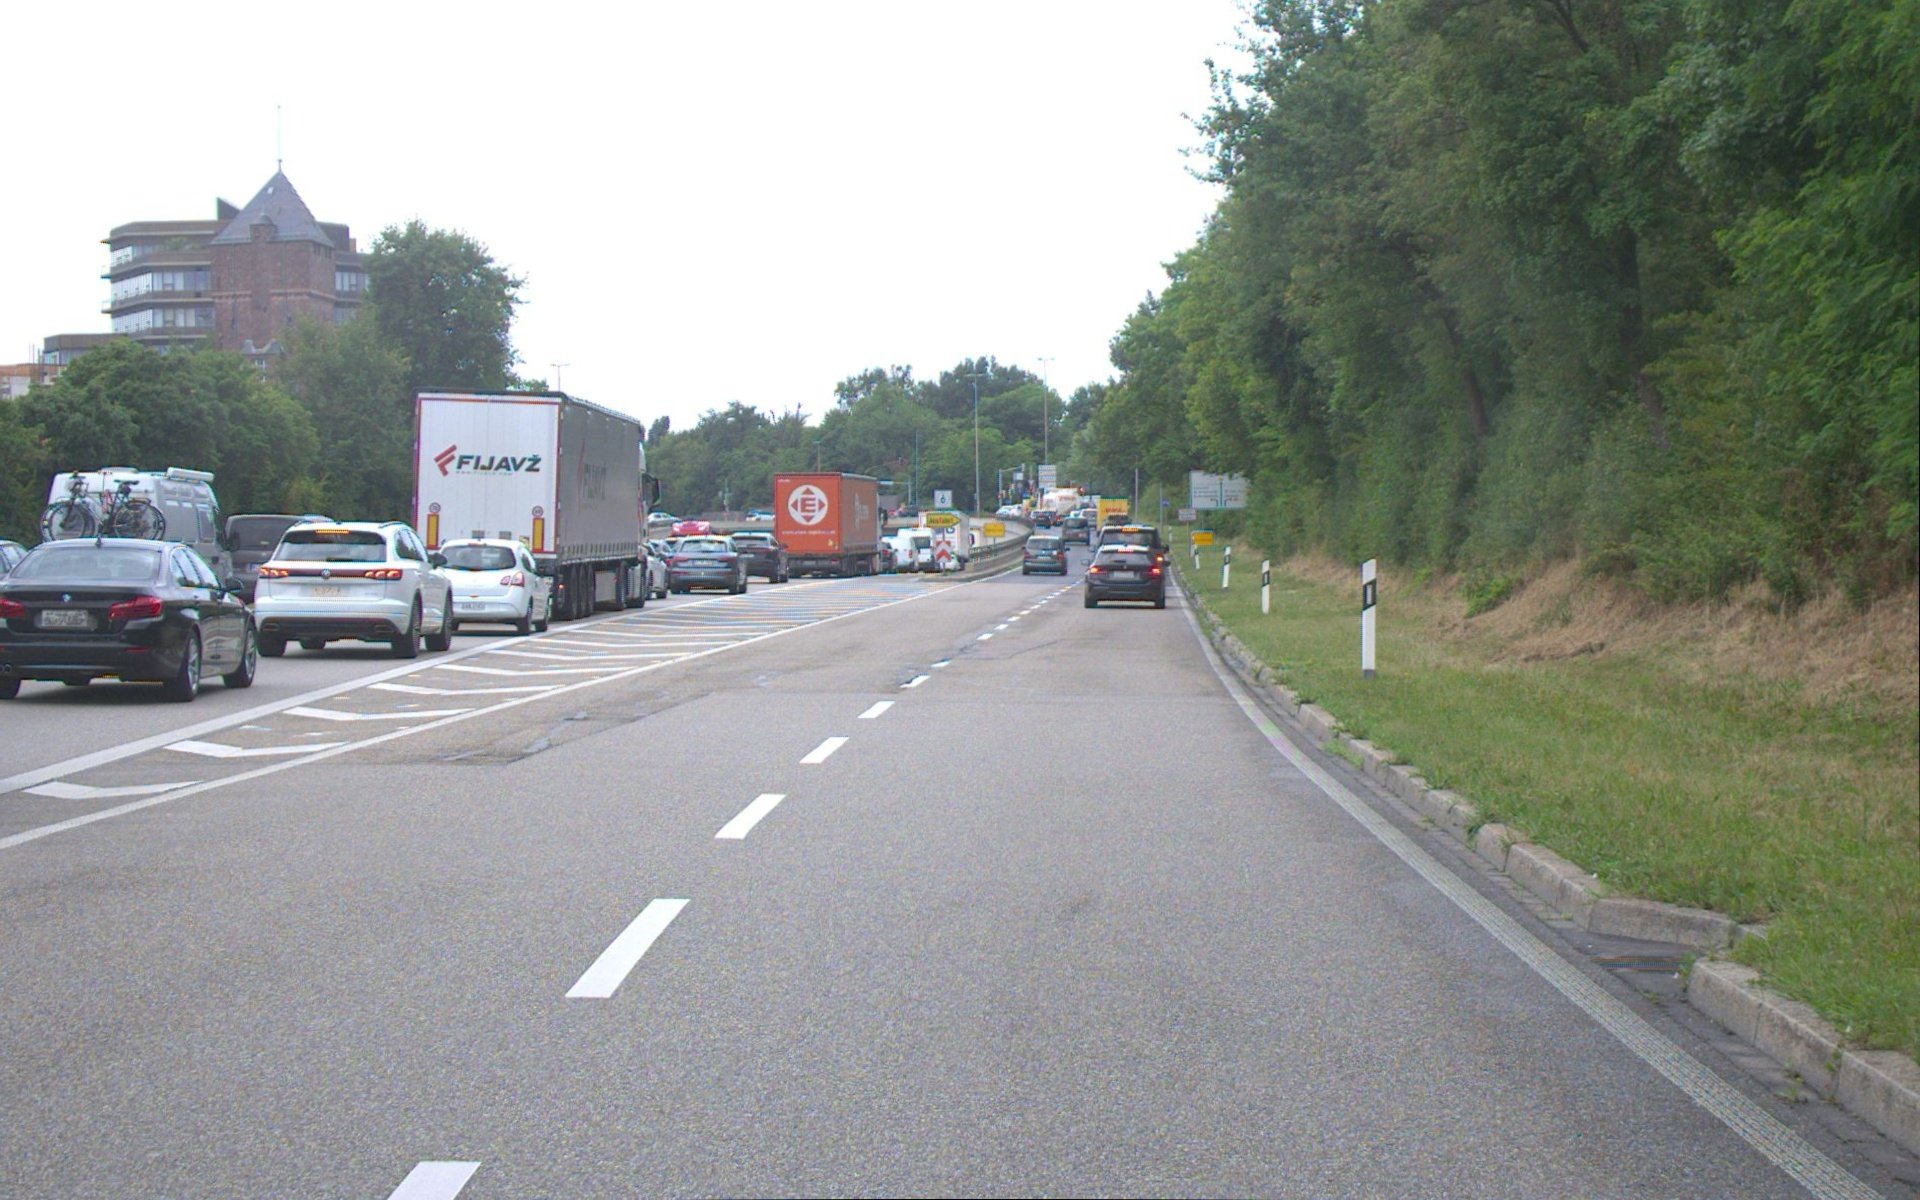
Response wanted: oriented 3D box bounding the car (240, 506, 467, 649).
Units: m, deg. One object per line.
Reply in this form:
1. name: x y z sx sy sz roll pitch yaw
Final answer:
1. car: -7.653 -0.289 43.860 1.956 1.689 4.866 1 0 1

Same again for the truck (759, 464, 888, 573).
1. truck: -5.286 -3.218 136.258 3.490 4.059 13.590 -1 1 5

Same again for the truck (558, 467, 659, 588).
1. truck: -12.623 -2.545 124.214 2.738 4.124 10.698 1 0 -1

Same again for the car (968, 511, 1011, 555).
1. car: 1.377 -3.125 159.507 1.951 2.007 4.000 0 1 0

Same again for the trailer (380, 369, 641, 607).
1. trailer: -8.298 -1.971 65.369 3.298 4.022 13.098 1 0 0

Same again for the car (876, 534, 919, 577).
1. car: -2.897 -2.057 160.365 1.614 1.941 3.704 1 0 4

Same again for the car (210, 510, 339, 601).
1. car: -13.182 -0.846 66.290 1.716 1.676 4.000 1 0 -1

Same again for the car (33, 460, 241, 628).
1. car: -13.012 -0.899 54.680 1.993 2.545 5.362 0 1 0

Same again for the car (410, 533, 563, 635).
1. car: -7.374 -0.271 53.822 1.764 1.473 4.089 2 1 0

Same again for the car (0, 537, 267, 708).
1. car: -7.813 0.168 32.179 1.847 1.455 4.831 1 0 -3

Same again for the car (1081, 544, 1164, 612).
1. car: 3.705 -0.520 78.413 1.825 1.477 4.000 -1 1 3

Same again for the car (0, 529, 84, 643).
1. car: -12.949 -0.205 44.927 1.713 1.443 4.701 1 0 1

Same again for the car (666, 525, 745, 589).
1. car: -6.863 -1.154 93.067 1.717 1.678 4.000 1 0 2

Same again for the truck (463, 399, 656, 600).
1. truck: -8.279 -2.029 71.965 3.199 3.933 7.074 1 0 0

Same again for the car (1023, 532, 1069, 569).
1. car: 3.488 -2.041 140.307 1.825 1.477 4.000 -1 1 1

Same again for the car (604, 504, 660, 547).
1. car: -15.215 -3.455 159.669 1.994 2.007 4.000 0 1 3

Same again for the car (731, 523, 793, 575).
1. car: -6.617 -1.688 115.191 1.717 1.678 4.000 1 0 1

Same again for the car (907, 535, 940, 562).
1. car: -2.015 -2.816 188.080 1.777 1.477 4.000 0 1 -1

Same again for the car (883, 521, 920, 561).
1. car: -2.921 -2.945 171.652 1.614 1.941 3.705 1 0 3
